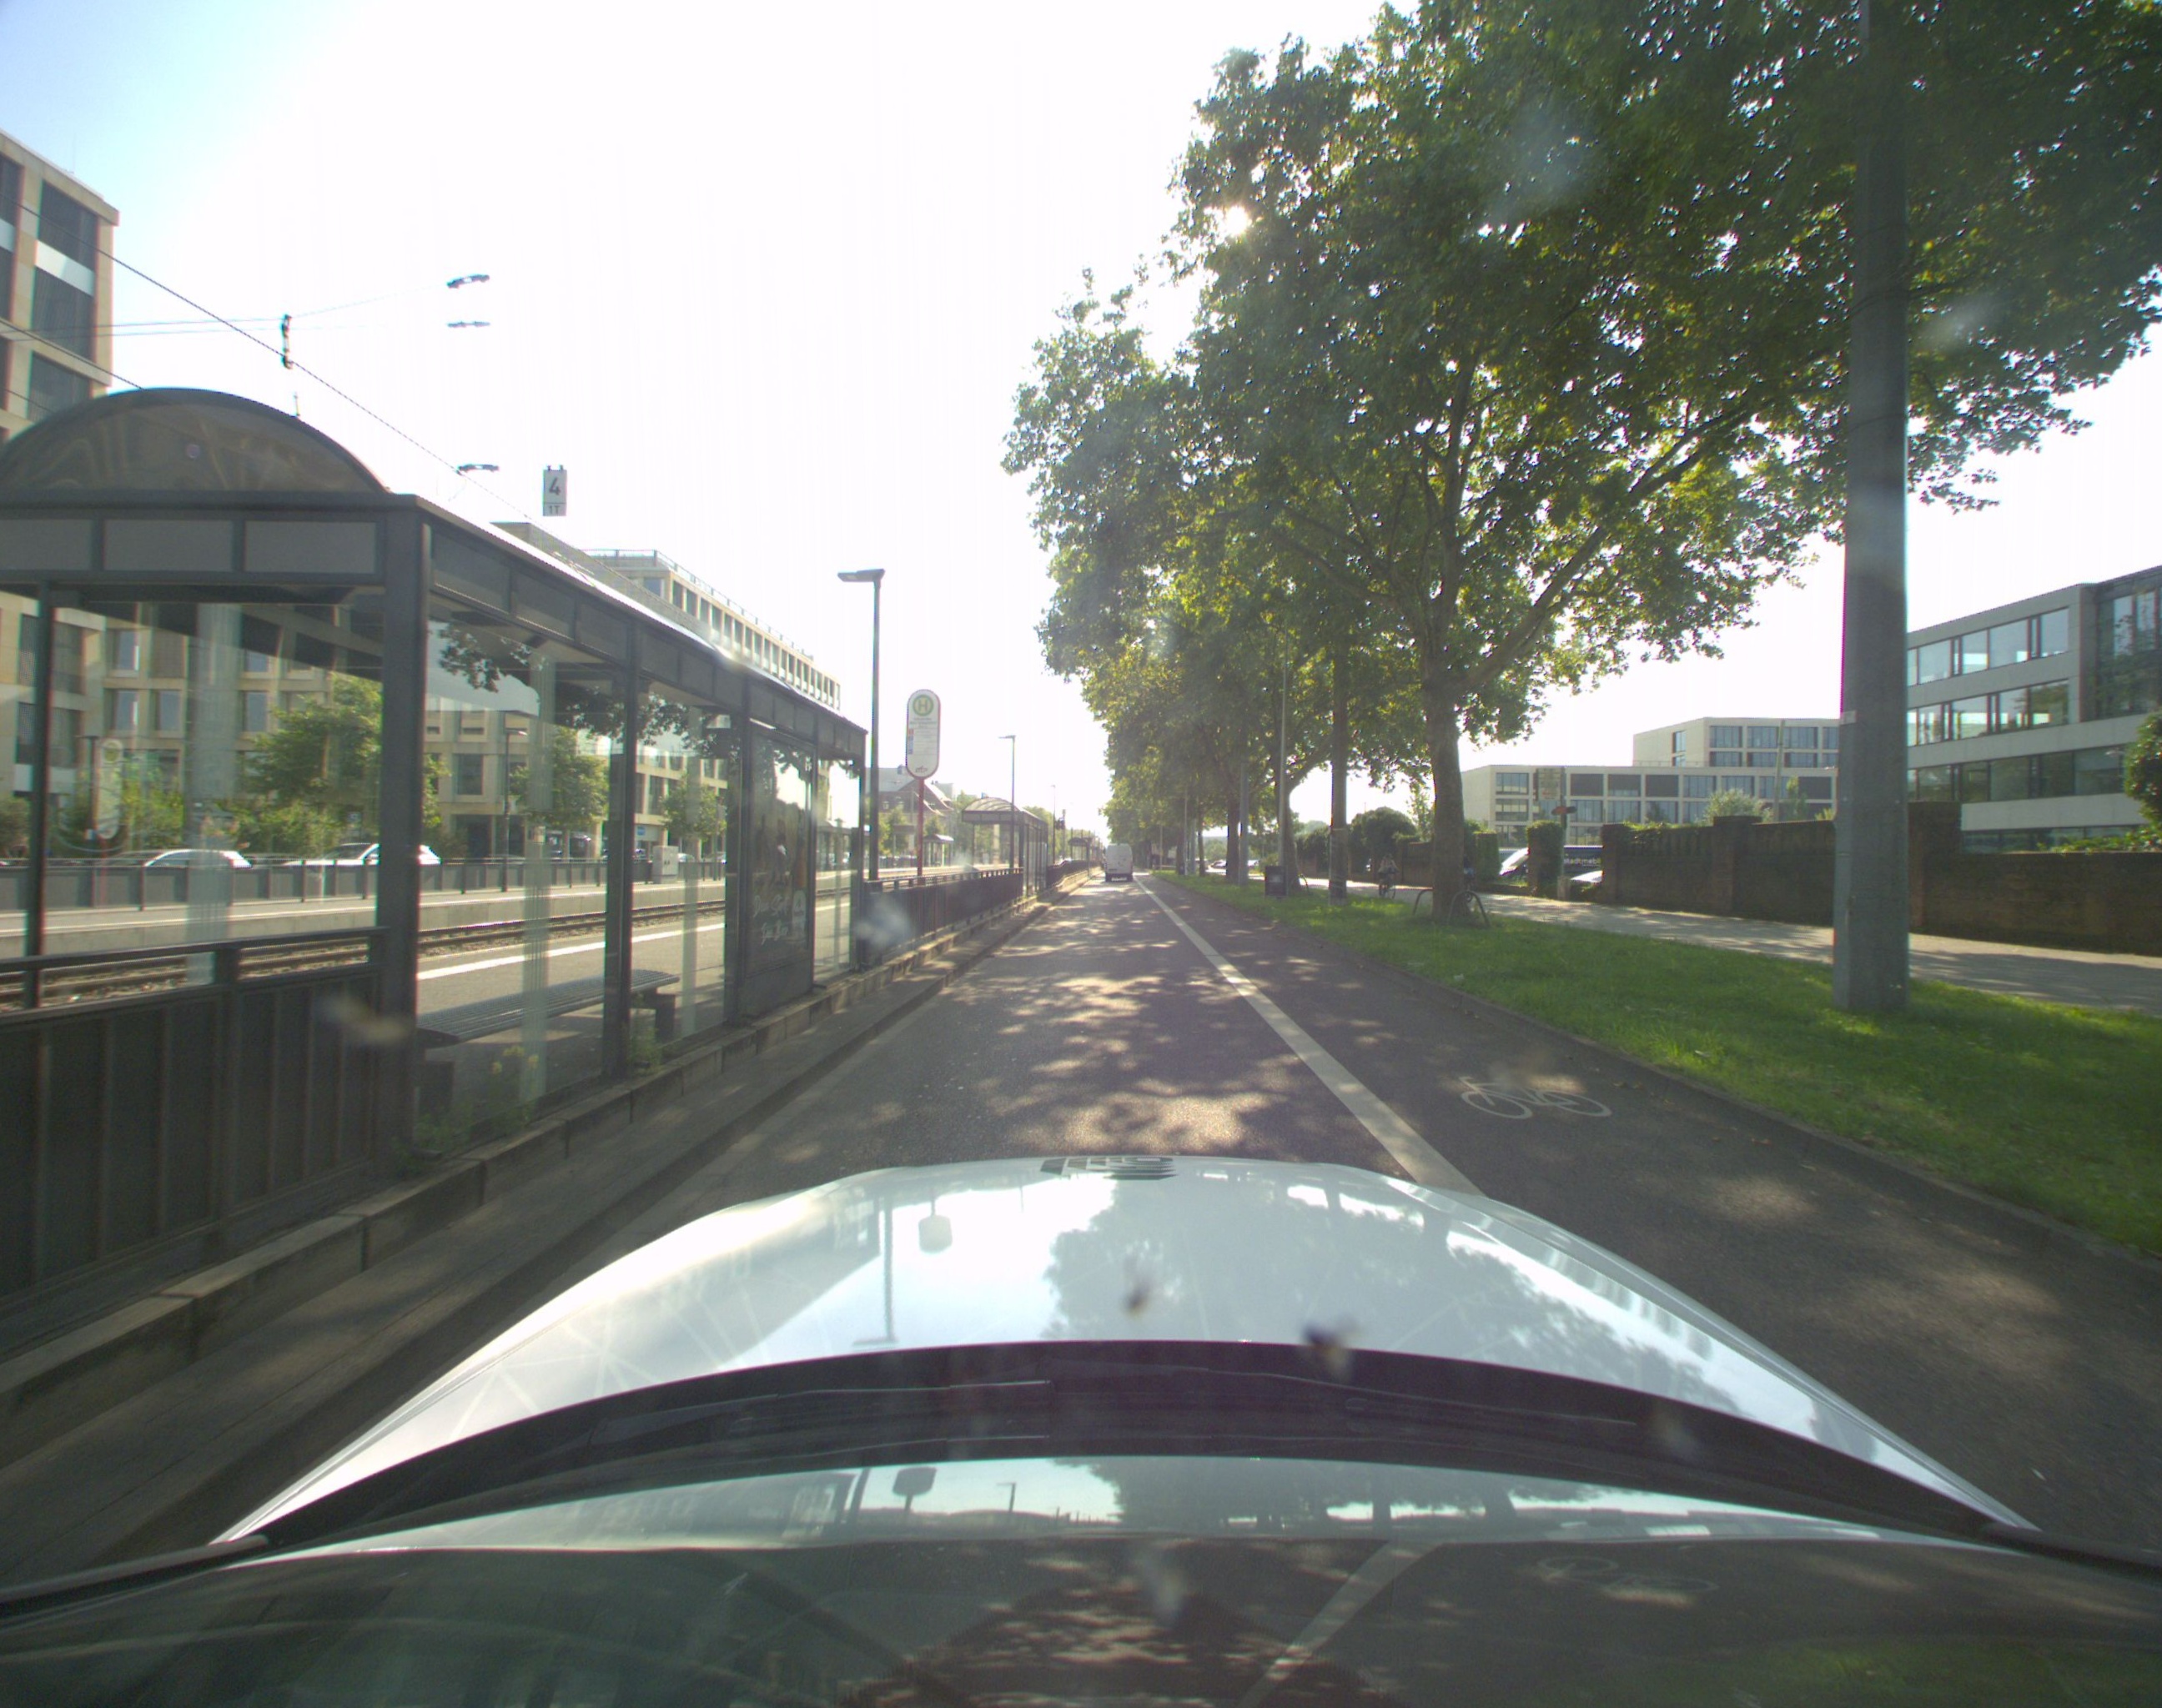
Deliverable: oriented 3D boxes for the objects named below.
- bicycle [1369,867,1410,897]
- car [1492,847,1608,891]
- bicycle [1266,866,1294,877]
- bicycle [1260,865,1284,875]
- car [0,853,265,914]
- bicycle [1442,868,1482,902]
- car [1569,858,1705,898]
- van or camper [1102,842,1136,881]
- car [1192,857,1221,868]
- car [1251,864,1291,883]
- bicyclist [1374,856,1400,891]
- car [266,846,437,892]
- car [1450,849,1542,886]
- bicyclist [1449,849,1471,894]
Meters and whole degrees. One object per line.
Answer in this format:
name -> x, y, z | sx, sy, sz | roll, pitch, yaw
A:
bicycle -> 11.130, 0.987, 29.452 | 0.679, 1.005, 2.218 | 0, 0, 1
car -> 20.667, 0.636, 35.977 | 4.259, 1.893, 1.561 | 0, 0, 0
bicycle -> 16.421, 1.430, 67.286 | 2.171, 0.847, 0.503 | 0, -1, 2
bicycle -> 16.383, 1.344, 69.862 | 1.924, 0.847, 0.372 | 0, -1, 2
car -> -24.021, 0.684, 20.903 | 1.677, 1.407, 4.374 | 0, 0, 1
bicycle -> 12.904, 1.021, 27.629 | 0.490, 1.089, 1.857 | 1, 0, 0
car -> 20.192, 0.843, 29.677 | 3.974, 1.403, 1.503 | 0, 0, 0
van or camper -> 2.687, 0.553, 58.980 | 2.109, 2.682, 5.247 | 0, 0, -1
car -> 18.518, 1.276, 120.372 | 3.972, 1.376, 2.001 | 2, -1, 2
car -> 20.792, 2.141, 89.316 | 3.972, 1.882, 2.001 | 2, -1, 2
bicyclist -> 11.105, 0.705, 29.552 | 0.667, 1.276, 0.728 | 0, -1, 1
car -> -24.077, 0.466, 27.140 | 1.677, 1.407, 4.372 | 0, 0, 1
car -> 21.499, 0.696, 42.266 | 3.989, 1.843, 1.561 | 0, 0, 0
bicyclist -> 12.907, 0.588, 27.710 | 0.467, 1.539, 0.596 | 1, 0, -1
